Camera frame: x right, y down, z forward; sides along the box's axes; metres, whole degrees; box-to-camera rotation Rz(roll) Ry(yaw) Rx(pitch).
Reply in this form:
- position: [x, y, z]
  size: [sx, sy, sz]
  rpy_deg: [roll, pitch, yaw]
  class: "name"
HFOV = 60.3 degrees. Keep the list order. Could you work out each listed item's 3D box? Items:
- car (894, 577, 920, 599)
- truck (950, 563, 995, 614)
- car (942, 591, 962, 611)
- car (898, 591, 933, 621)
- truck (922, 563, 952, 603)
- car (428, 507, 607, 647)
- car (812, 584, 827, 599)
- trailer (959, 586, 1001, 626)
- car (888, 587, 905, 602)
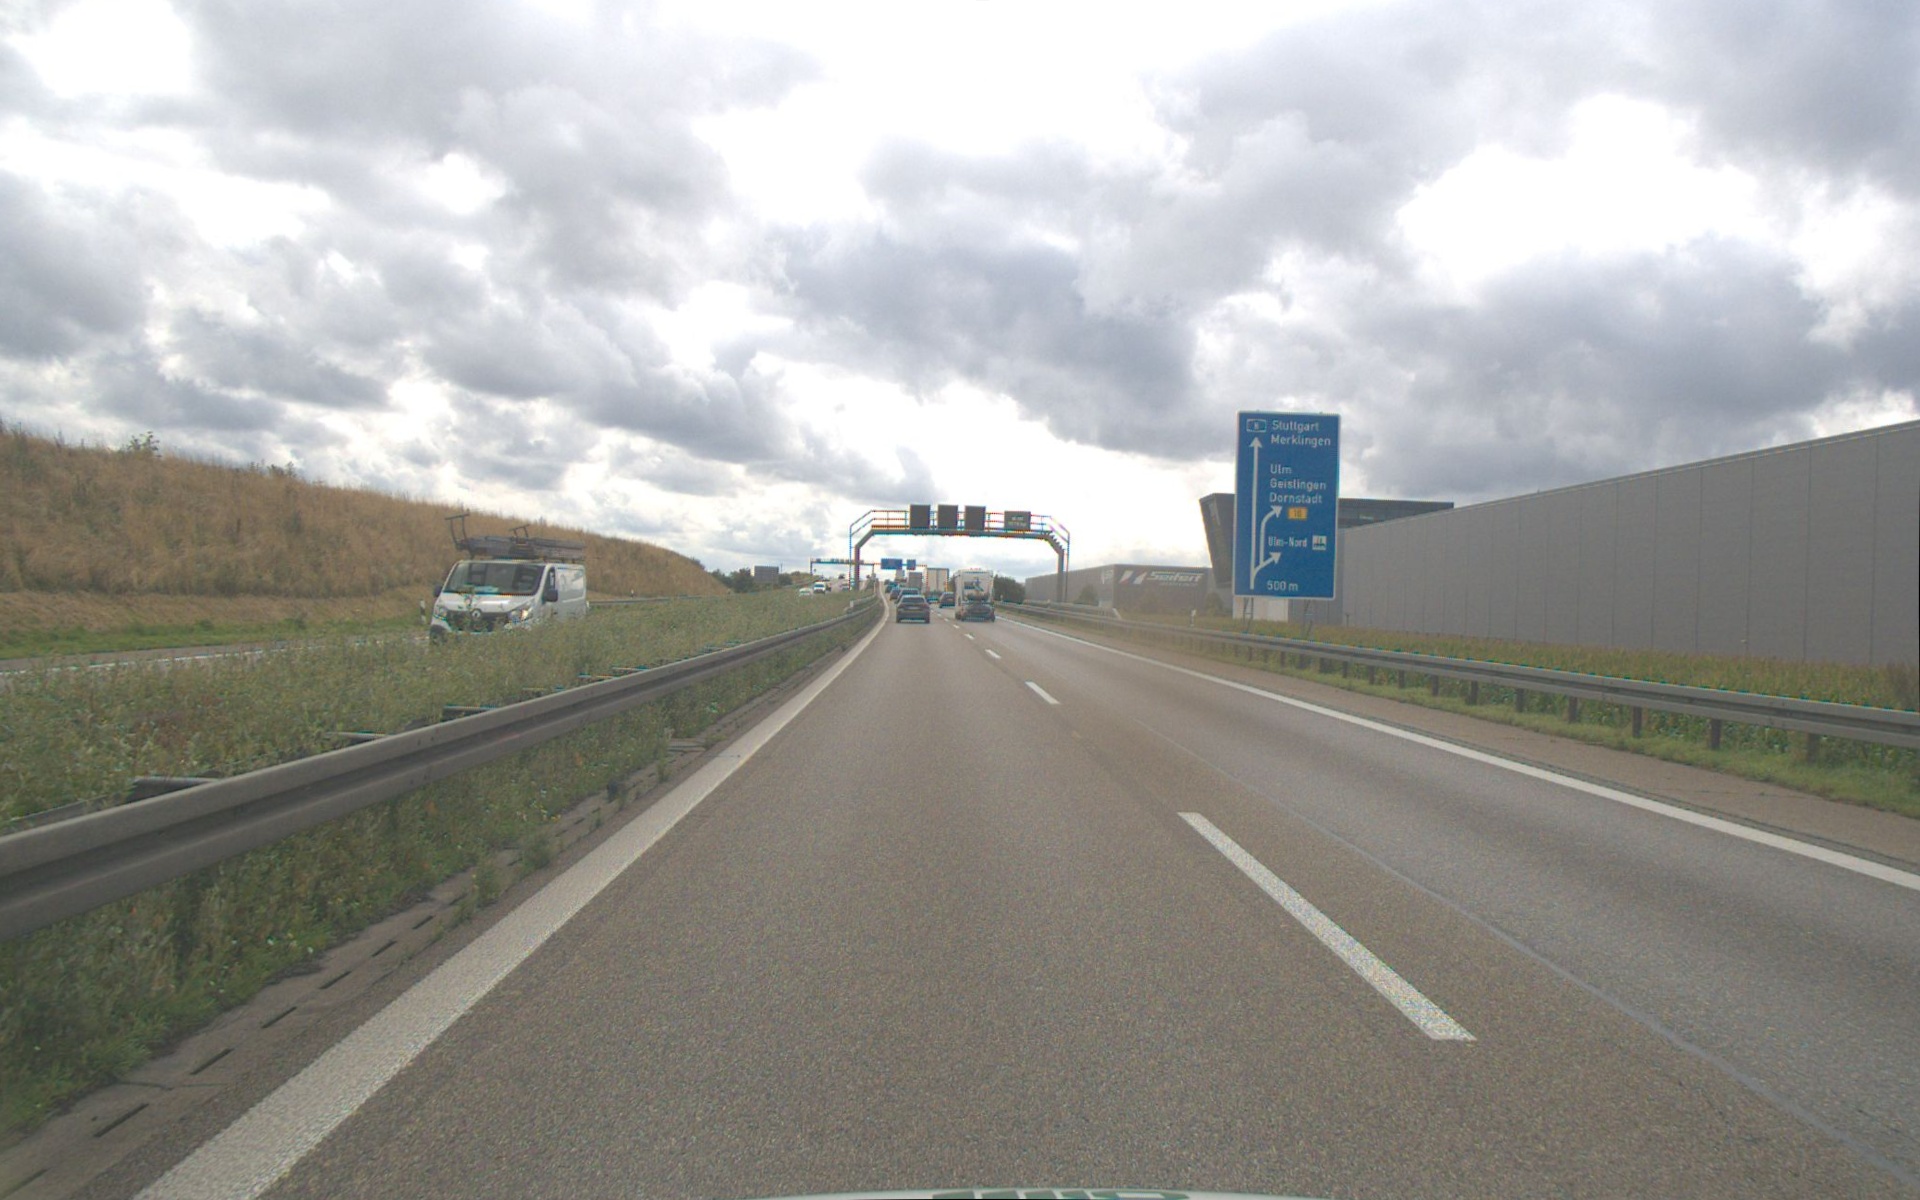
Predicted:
- position: [-4.228, -0.948, 132.701]
  size: [1.906, 1.714, 3.999]
  rpy_deg: [1, 0, 0]
  class: "car"
- position: [0.714, -0.668, 101.228]
  size: [2.432, 3.002, 5.812]
  rpy_deg: [1, 0, -2]
  class: "truck"
- position: [-0.786, 0.103, 152.094]
  size: [1.764, 1.714, 3.999]
  rpy_deg: [1, 0, -1]
  class: "car"
- position: [-2.338, 0.328, 87.418]
  size: [1.710, 1.478, 4.000]
  rpy_deg: [1, 0, 0]
  class: "car"
- position: [-2.808, -1.961, 196.820]
  size: [3.272, 4.613, 8.013]
  rpy_deg: [1, 0, -2]
  class: "truck"
- position: [-8.332, -0.383, 31.720]
  size: [1.953, 2.389, 5.869]
  rpy_deg: [1, 0, -2]
  class: "car"
- position: [-20.865, -1.281, 244.966]
  size: [1.953, 2.049, 4.706]
  rpy_deg: [1, 0, -2]
  class: "car"
- position: [1.120, 0.365, 94.021]
  size: [2.290, 2.173, 3.999]
  rpy_deg: [1, 0, 0]
  class: "trailer"
- position: [-7.946, -0.637, 207.659]
  size: [1.903, 1.806, 3.695]
  rpy_deg: [1, 0, -1]
  class: "car"
